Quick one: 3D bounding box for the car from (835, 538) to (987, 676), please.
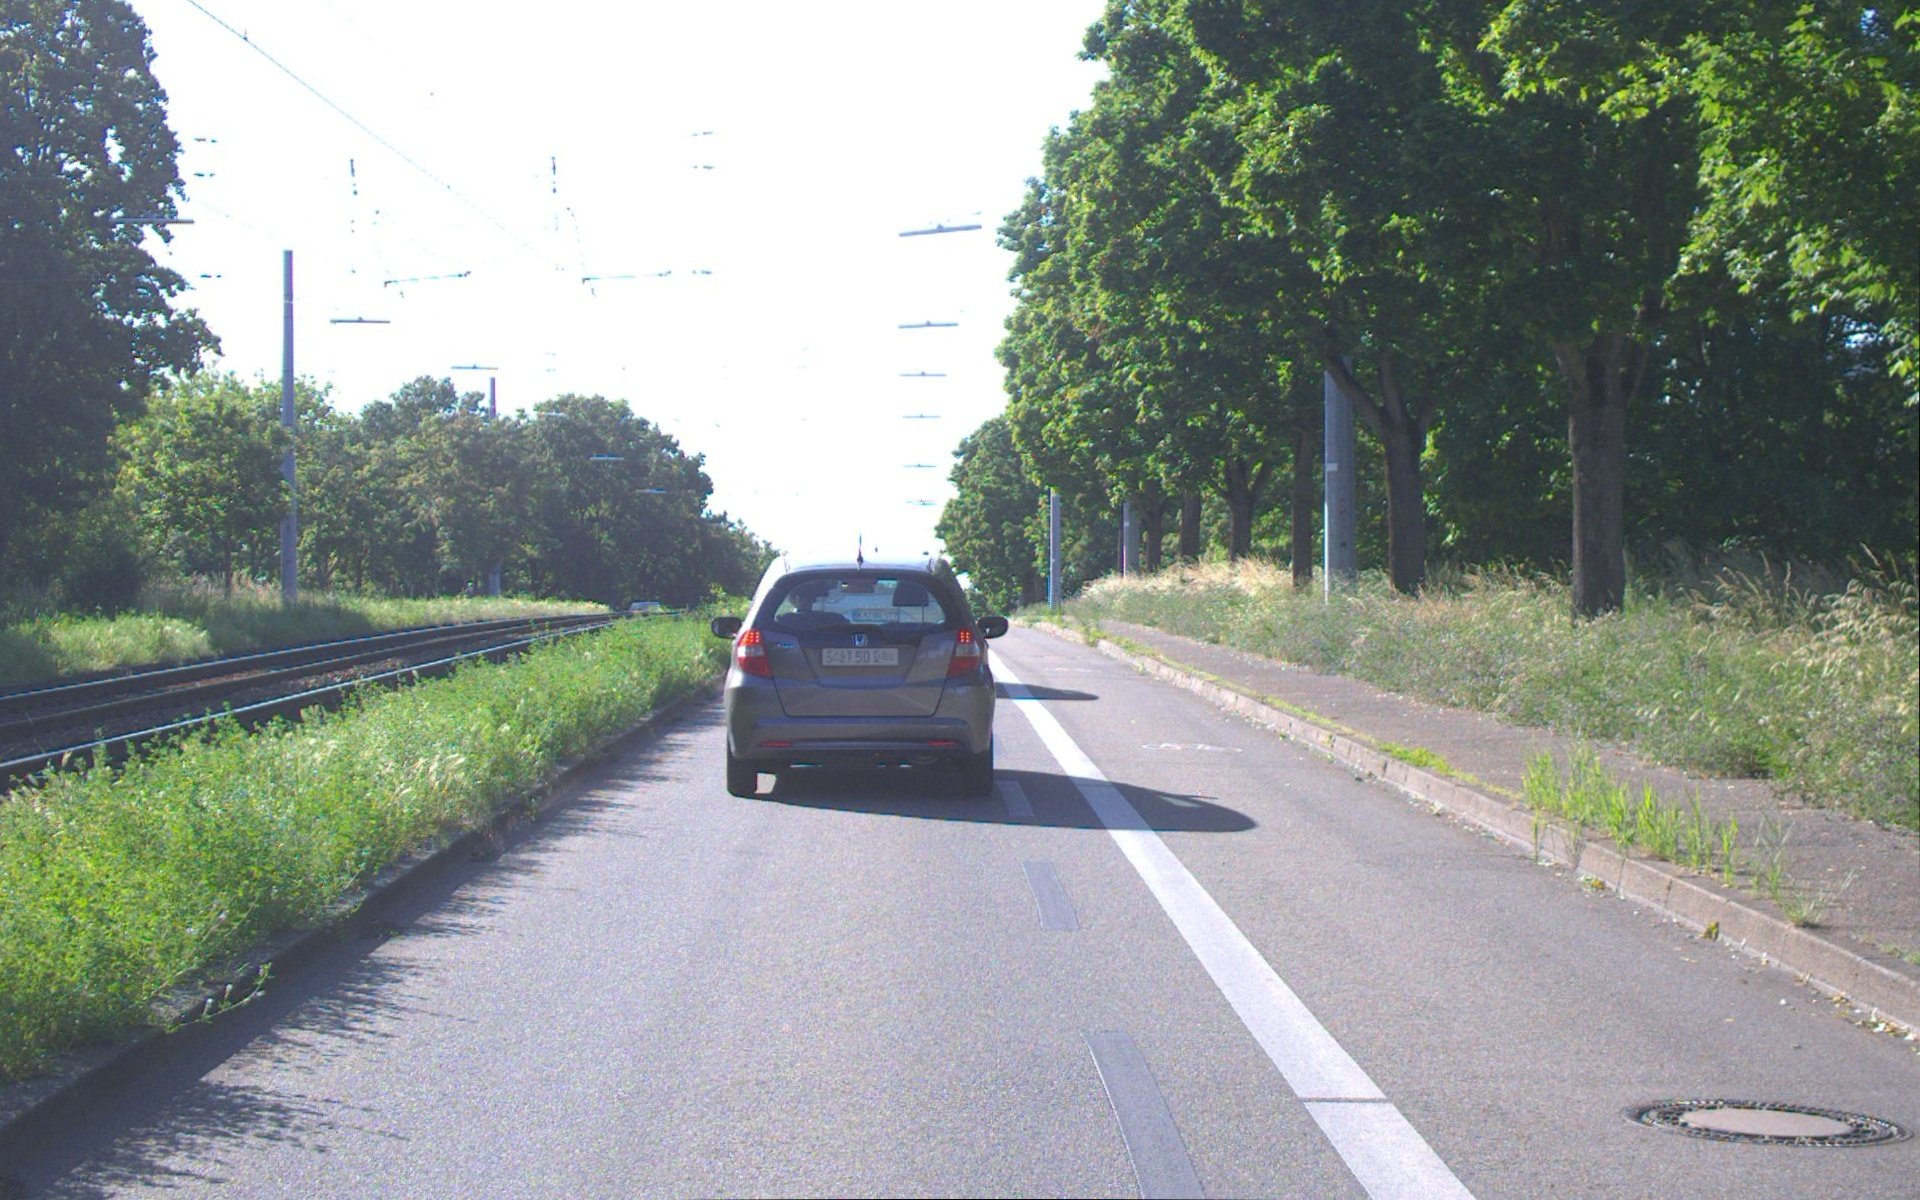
[{"bbox_3d":[-0.551,0.059,39.978,1.654,1.502,3.811,1,1,0],"label":"car"}]

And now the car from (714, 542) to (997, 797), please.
[{"bbox_3d":[-0.635,0.399,22.571,1.670,1.502,3.811,1,1,0],"label":"car"}]

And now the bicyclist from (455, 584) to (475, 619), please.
[{"bbox_3d":[-18.590,0.049,129.213,0.582,1.306,0.987,1,0,0],"label":"bicyclist"}]
